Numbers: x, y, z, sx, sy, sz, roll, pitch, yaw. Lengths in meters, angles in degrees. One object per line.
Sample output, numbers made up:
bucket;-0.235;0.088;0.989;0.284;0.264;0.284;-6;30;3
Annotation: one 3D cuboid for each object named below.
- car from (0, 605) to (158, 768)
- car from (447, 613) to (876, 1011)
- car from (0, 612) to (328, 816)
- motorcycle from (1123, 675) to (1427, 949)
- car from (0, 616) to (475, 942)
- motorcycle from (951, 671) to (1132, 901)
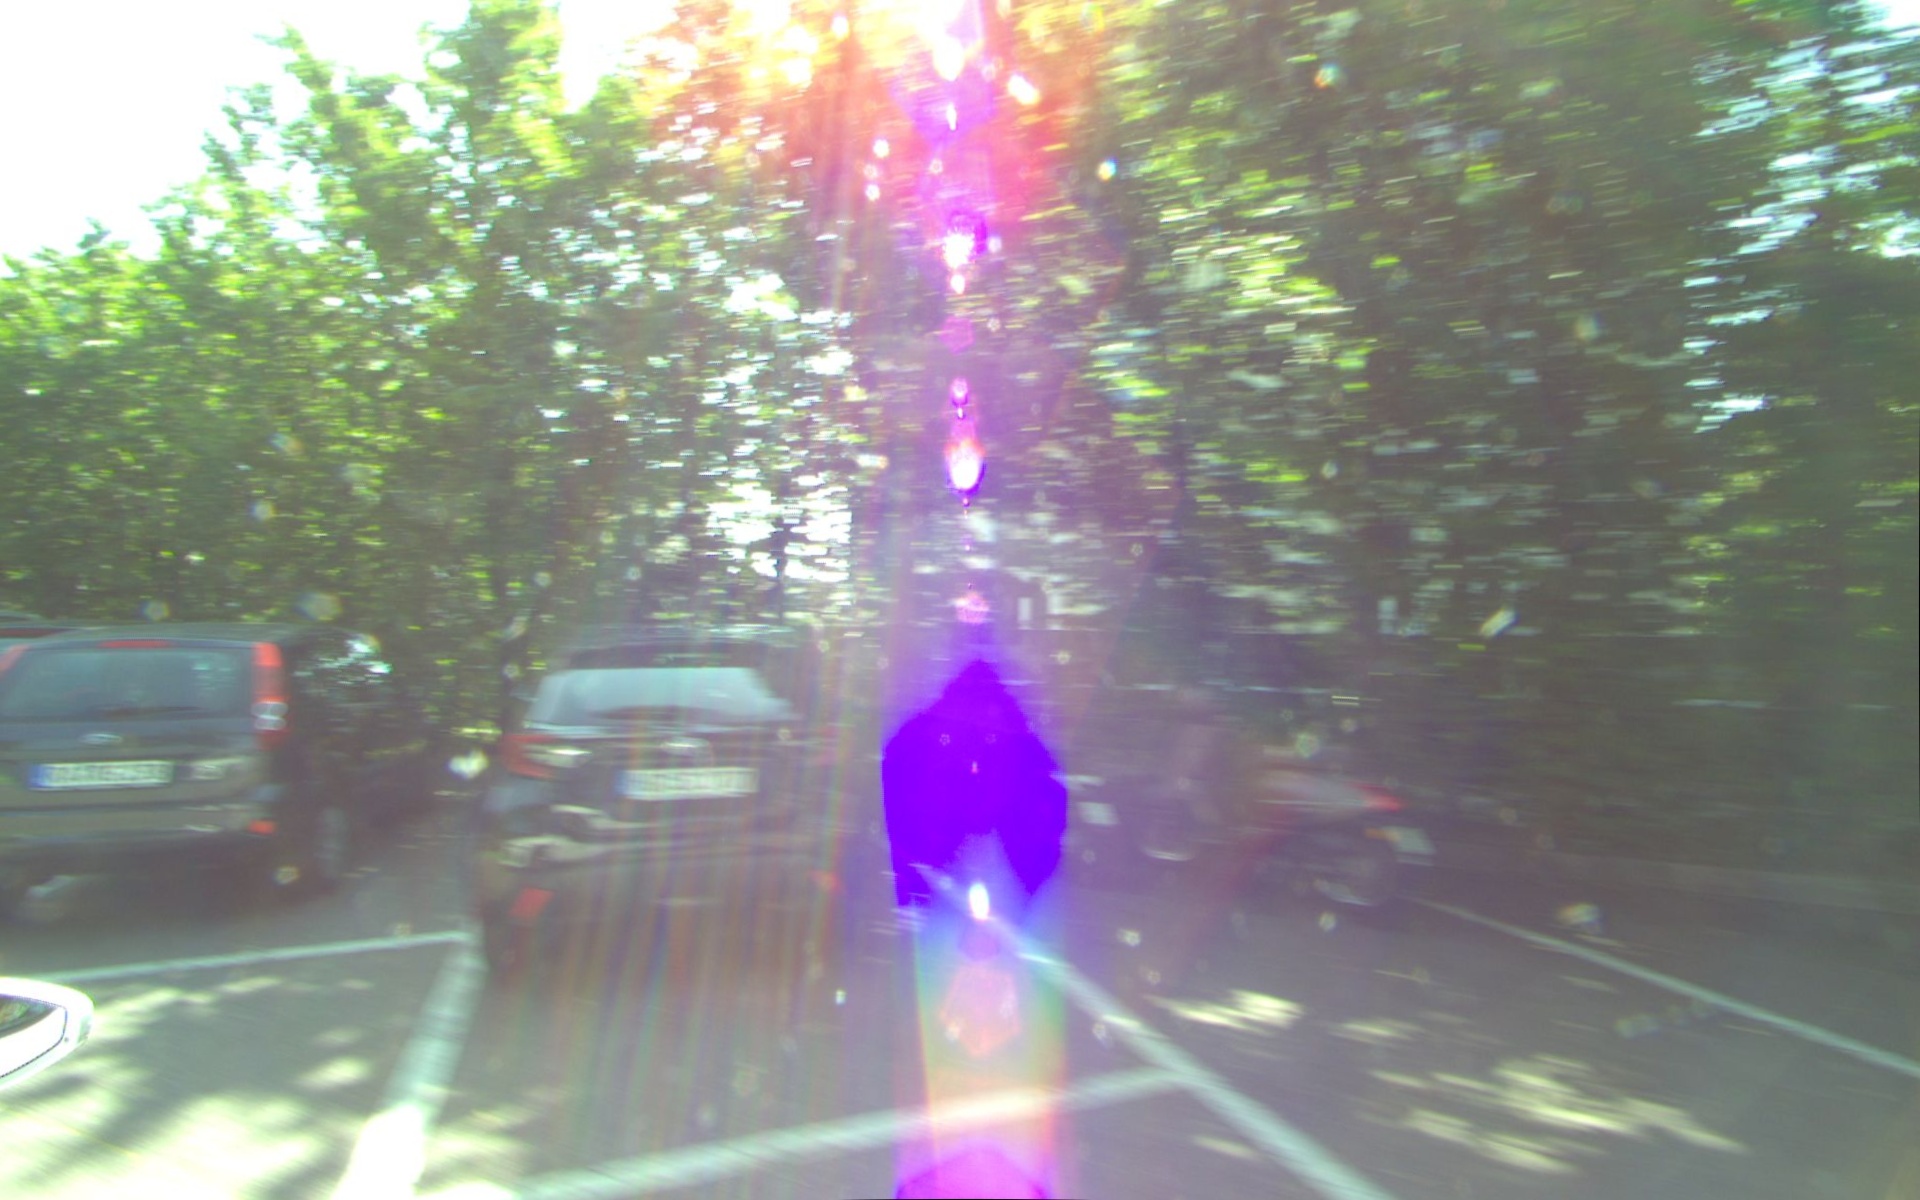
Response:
car;-10.364;0.843;10.326;1.742;1.592;3.995;1;-1;-14
car;-1.723;0.834;5.860;1.632;1.489;3.897;1;-1;-18
car;-7.601;0.863;9.239;1.741;1.489;3.996;1;-1;-13
motorcycle;1.615;1.026;5.396;0.562;1.184;1.597;1;-2;-31
car;-4.516;0.849;6.535;1.674;1.472;3.995;1;-1;-15
motorcycle;0.443;1.049;6.167;0.467;1.155;1.601;1;-2;-21
